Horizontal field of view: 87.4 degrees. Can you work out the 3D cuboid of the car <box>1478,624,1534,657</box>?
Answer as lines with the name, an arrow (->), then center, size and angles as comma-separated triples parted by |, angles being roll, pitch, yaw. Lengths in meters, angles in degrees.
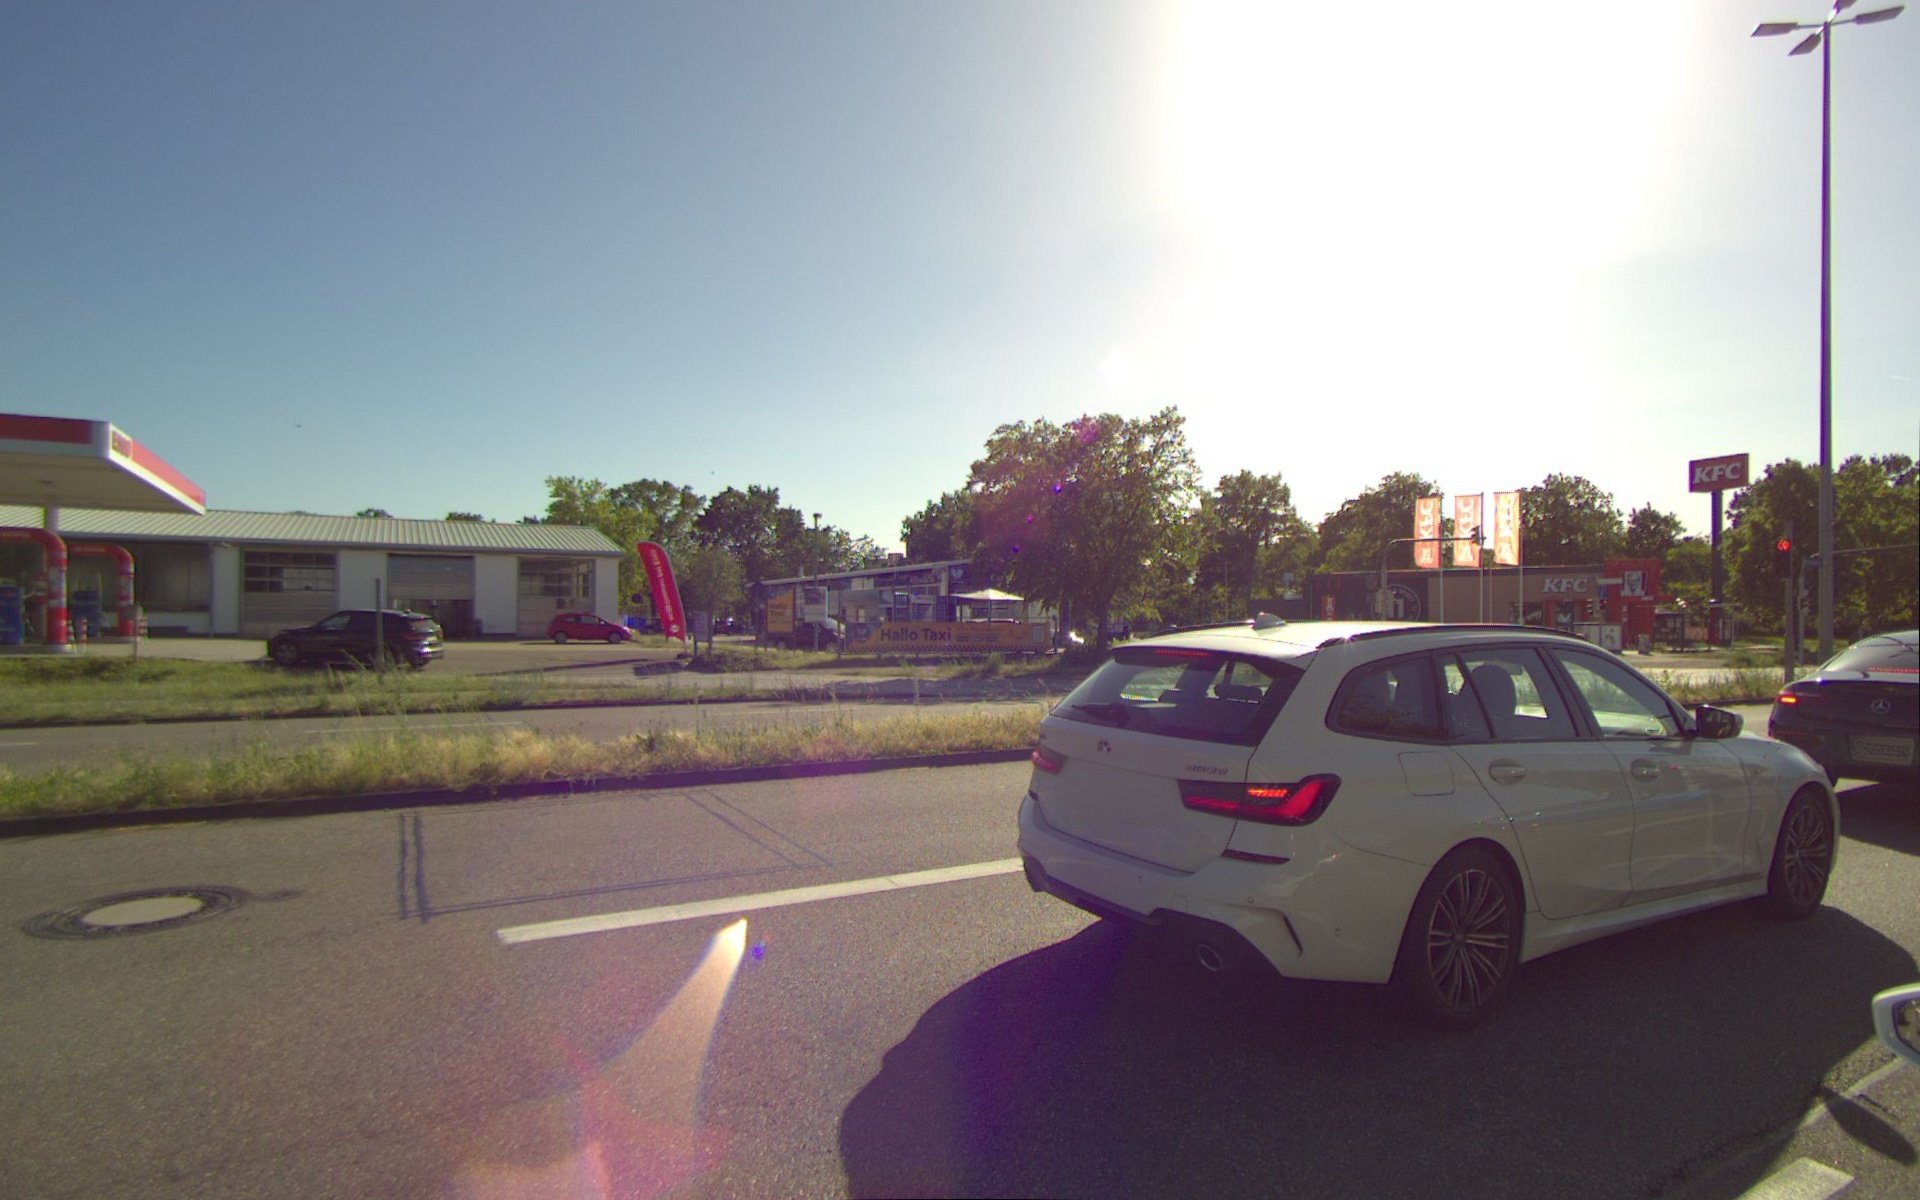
car -> 32.687, 2.386, 60.239 | 1.896, 1.763, 4.099 | 2, 0, 14

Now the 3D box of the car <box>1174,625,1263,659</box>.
car -> 13.947, 2.248, 54.449 | 1.914, 1.600, 4.599 | 2, 0, -31

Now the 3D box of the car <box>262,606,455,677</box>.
car -> -16.524, 1.108, 27.732 | 4.236, 1.749, 1.809 | 2, 0, 2

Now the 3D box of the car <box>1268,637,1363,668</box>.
car -> 17.013, 2.491, 48.231 | 1.850, 1.268, 4.062 | 2, 0, -31

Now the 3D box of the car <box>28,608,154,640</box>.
car -> -36.358, 1.017, 42.137 | 3.688, 1.203, 1.667 | 2, 0, -30

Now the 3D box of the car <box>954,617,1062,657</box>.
car -> 1.969, 1.512, 41.080 | 3.944, 1.461, 1.988 | 2, 0, -24

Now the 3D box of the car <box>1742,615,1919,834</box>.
car -> 8.801, 0.954, 8.624 | 4.491, 1.572, 1.803 | 1, 0, -31

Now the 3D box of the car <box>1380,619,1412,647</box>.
car -> 30.817, 2.289, 71.038 | 1.961, 1.837, 3.771 | 2, 0, 22

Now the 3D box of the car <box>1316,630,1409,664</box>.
car -> 20.004, 2.337, 50.066 | 1.913, 1.472, 3.935 | 2, 0, -30

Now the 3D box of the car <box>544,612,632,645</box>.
car -> -18.282, 1.418, 49.343 | 3.949, 1.491, 1.521 | 2, 0, -24

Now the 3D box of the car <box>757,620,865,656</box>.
car -> -5.806, 1.442, 39.067 | 3.930, 1.193, 1.774 | 2, 0, 31

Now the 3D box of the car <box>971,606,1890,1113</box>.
car -> 2.463, 0.816, 4.921 | 4.541, 1.506, 1.804 | 1, -1, -30

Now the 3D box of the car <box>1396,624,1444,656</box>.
car -> 28.047, 2.414, 61.390 | 1.896, 1.763, 4.099 | 2, 0, 14
